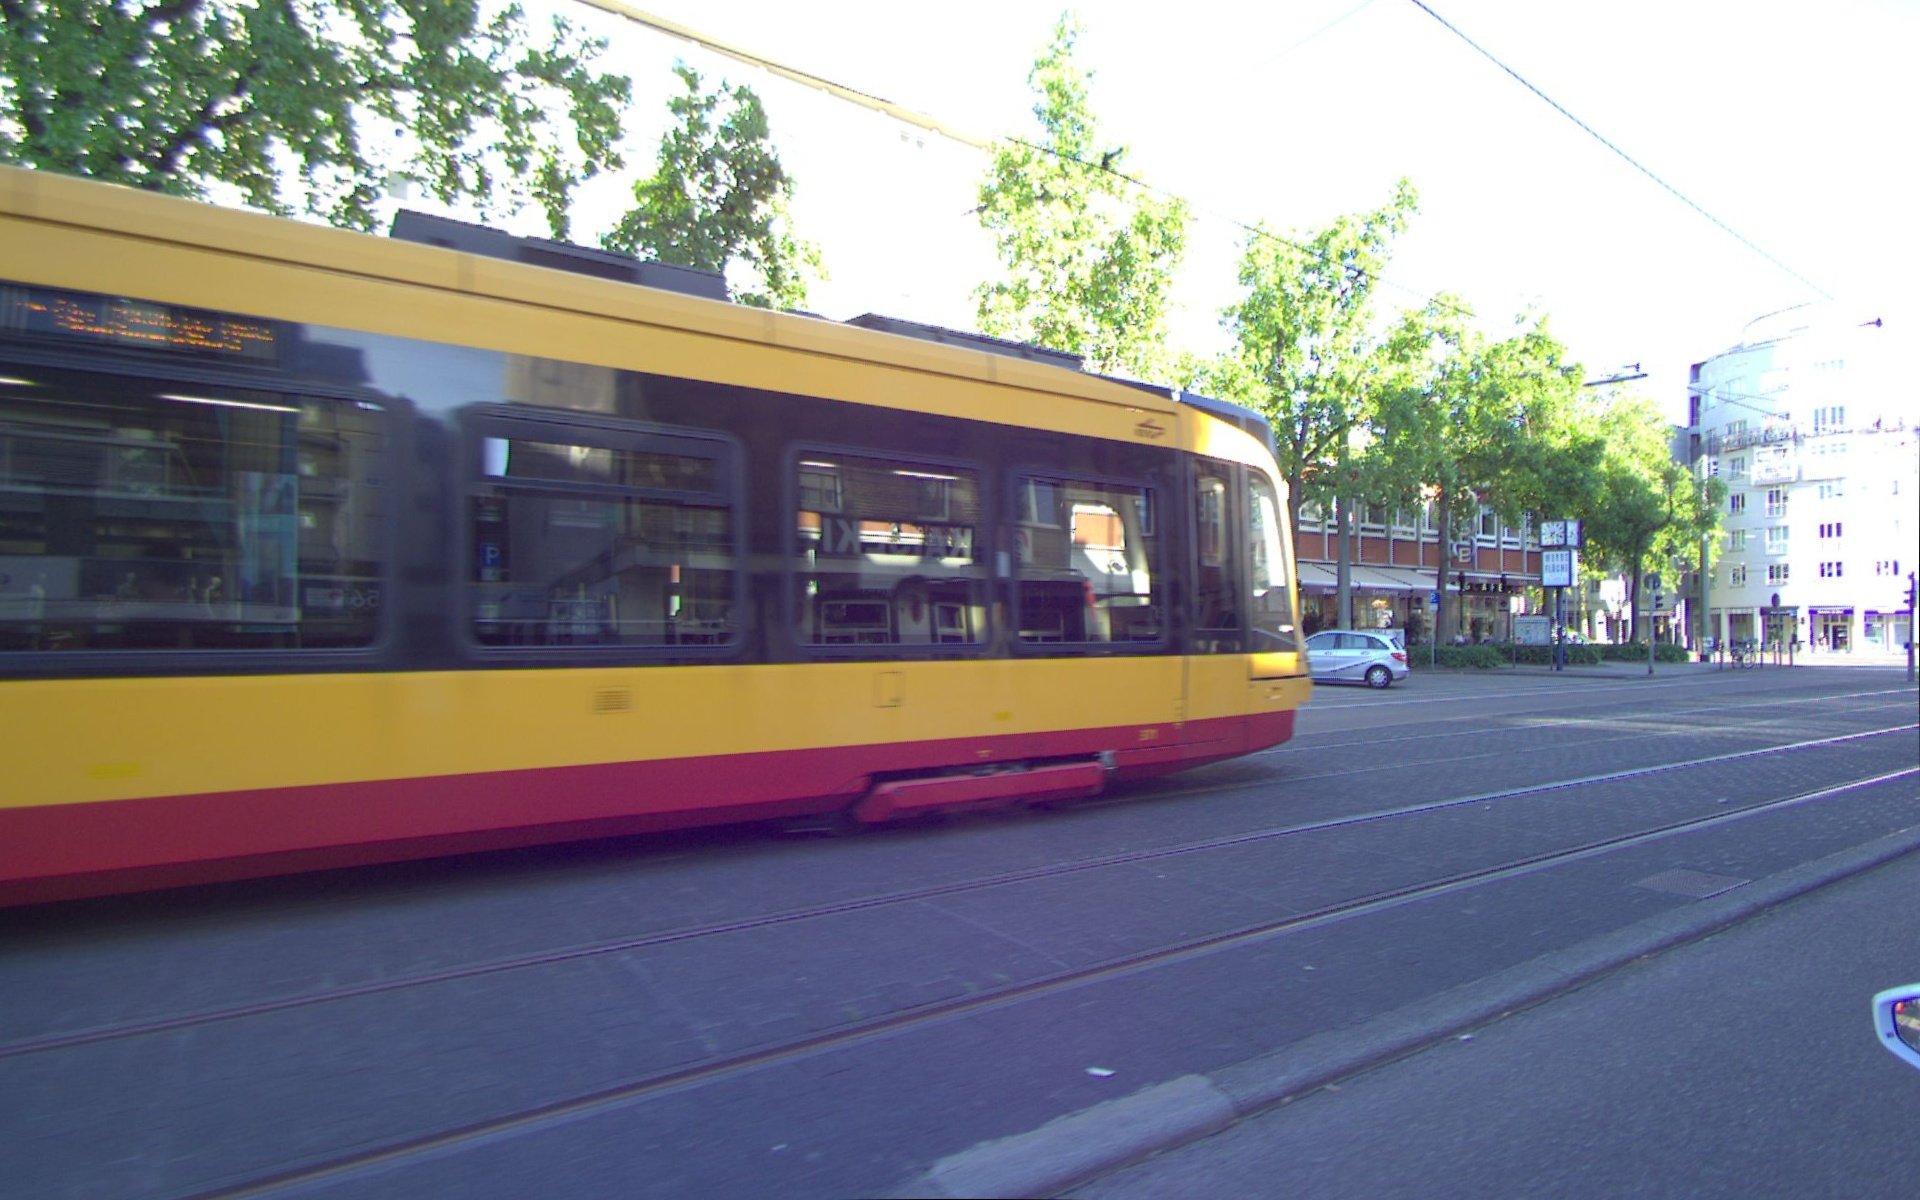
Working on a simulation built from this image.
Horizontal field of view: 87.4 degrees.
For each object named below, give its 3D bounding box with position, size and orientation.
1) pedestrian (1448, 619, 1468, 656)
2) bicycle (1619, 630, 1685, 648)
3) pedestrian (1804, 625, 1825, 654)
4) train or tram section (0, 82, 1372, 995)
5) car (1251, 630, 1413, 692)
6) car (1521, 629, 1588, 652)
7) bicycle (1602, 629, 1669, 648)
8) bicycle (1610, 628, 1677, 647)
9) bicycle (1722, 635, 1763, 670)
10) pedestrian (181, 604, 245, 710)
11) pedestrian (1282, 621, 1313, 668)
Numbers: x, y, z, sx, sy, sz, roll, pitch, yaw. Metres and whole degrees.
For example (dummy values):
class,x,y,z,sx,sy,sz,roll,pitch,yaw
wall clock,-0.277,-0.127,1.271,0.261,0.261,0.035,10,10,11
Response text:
class,x,y,z,sx,sy,sz,roll,pitch,yaw
pedestrian,23.880,1.773,48.181,0.590,1.745,0.647,0,0,-14
bicycle,59.110,3.316,85.881,1.054,1.550,4.683,1,-2,-29
pedestrian,60.574,2.781,71.185,0.930,2.040,0.939,-1,-2,29
train or tram section,-2.309,-0.153,6.555,12.708,3.597,2.660,1,-3,-34
car,10.698,1.695,28.892,4.200,1.587,1.825,0,-1,26
car,42.658,2.931,72.168,1.605,1.579,4.000,0,-2,-20
bicycle,56.795,3.273,84.573,1.054,1.550,4.683,1,-2,-29
bicycle,57.822,3.156,85.047,1.054,1.550,4.683,1,-2,-29
bicycle,31.820,2.106,40.837,1.884,1.345,0.667,1,1,-31
pedestrian,-13.997,1.051,18.821,0.893,1.902,0.909,1,-2,-40
pedestrian,12.629,1.654,37.592,0.866,1.745,0.700,0,0,-34
